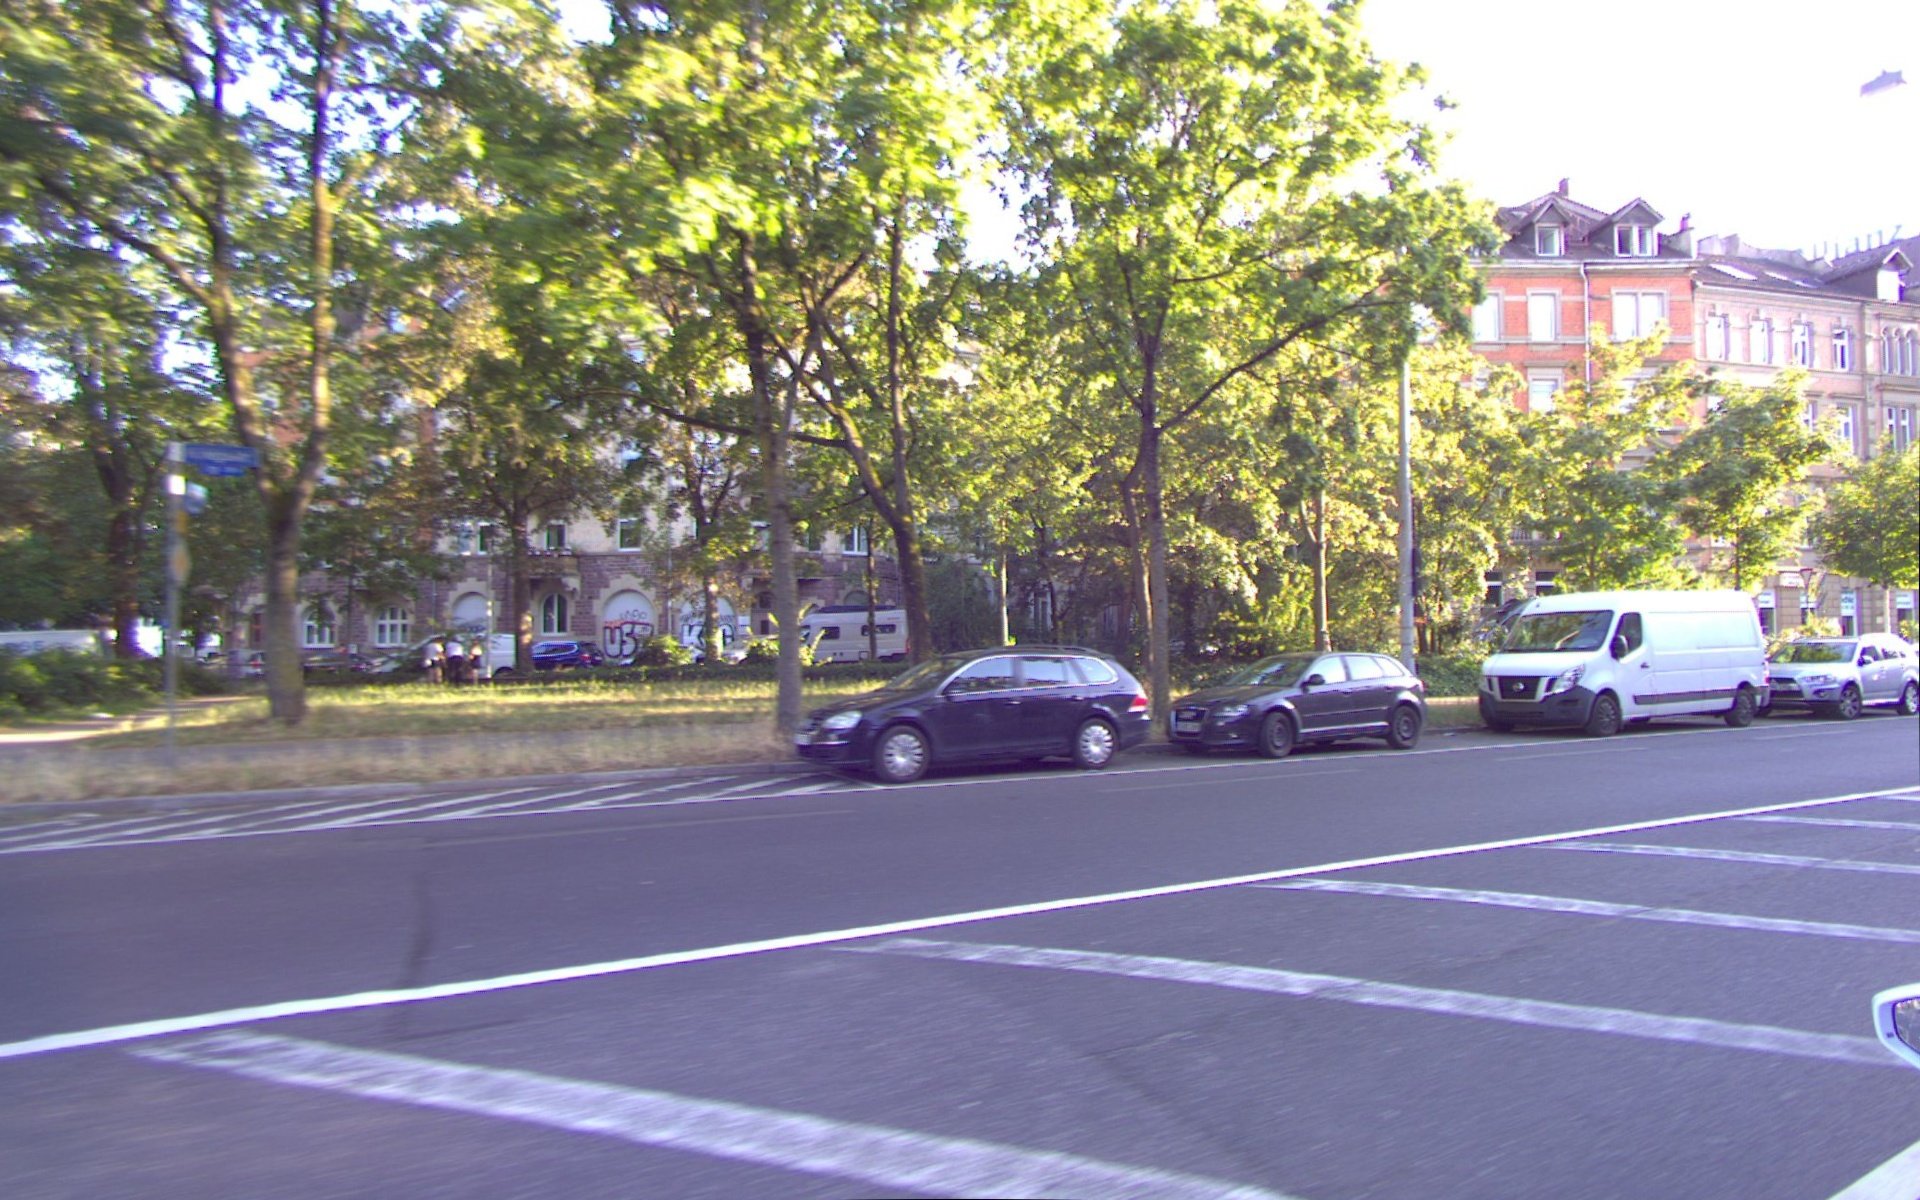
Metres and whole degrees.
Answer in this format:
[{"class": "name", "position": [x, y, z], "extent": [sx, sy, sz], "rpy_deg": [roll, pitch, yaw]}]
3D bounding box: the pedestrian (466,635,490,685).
[{"class": "pedestrian", "position": [-14.027, 1.739, 29.234], "extent": [0.553, 1.414, 0.453], "rpy_deg": [1, -2, -34]}]

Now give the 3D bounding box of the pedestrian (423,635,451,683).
[{"class": "pedestrian", "position": [-15.473, 1.743, 29.704], "extent": [0.547, 1.414, 0.458], "rpy_deg": [0, -2, 3]}]

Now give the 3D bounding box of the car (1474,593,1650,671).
[{"class": "car", "position": [22.243, 1.215, 37.277], "extent": [5.206, 2.775, 2.127], "rpy_deg": [0, -3, -2]}]

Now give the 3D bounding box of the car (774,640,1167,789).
[{"class": "car", "position": [0.182, 1.255, 12.038], "extent": [4.485, 1.526, 1.618], "rpy_deg": [1, -3, -27]}]

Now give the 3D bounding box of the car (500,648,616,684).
[{"class": "car", "position": [-16.260, 2.663, 40.736], "extent": [3.919, 1.416, 1.896], "rpy_deg": [0, -2, 7]}]

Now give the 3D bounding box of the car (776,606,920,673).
[{"class": "car", "position": [-4.284, 1.540, 38.989], "extent": [5.128, 2.518, 2.275], "rpy_deg": [0, -2, 7]}]

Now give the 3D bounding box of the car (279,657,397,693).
[{"class": "car", "position": [-26.306, 3.153, 42.541], "extent": [3.919, 1.416, 1.896], "rpy_deg": [0, -2, 7]}]

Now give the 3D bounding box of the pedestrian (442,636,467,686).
[{"class": "pedestrian", "position": [-14.551, 1.748, 28.914], "extent": [0.553, 1.414, 0.453], "rpy_deg": [1, -2, -34]}]

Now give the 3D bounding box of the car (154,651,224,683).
[{"class": "car", "position": [-42.343, 3.644, 55.295], "extent": [1.973, 1.619, 4.714], "rpy_deg": [1, -3, -24]}]

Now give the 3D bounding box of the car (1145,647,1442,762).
[{"class": "car", "position": [4.850, 1.418, 14.498], "extent": [4.189, 1.448, 1.622], "rpy_deg": [1, -3, -28]}]

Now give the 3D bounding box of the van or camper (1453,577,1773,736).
[{"class": "van or camper", "position": [11.909, 0.992, 18.202], "extent": [6.226, 2.500, 2.083], "rpy_deg": [1, -3, -28]}]

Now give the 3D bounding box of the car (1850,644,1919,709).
[{"class": "car", "position": [23.325, 1.774, 23.872], "extent": [4.566, 1.464, 1.730], "rpy_deg": [1, -2, -28]}]

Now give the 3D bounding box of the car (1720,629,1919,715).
[{"class": "car", "position": [18.398, 1.481, 21.304], "extent": [4.513, 1.666, 1.859], "rpy_deg": [1, -3, -28]}]

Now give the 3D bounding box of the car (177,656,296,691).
[{"class": "car", "position": [-31.237, 3.164, 43.421], "extent": [3.919, 1.416, 1.896], "rpy_deg": [0, -2, 7]}]

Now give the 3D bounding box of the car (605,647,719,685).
[{"class": "car", "position": [-11.851, 2.614, 40.111], "extent": [3.919, 1.416, 1.896], "rpy_deg": [0, -2, 7]}]
